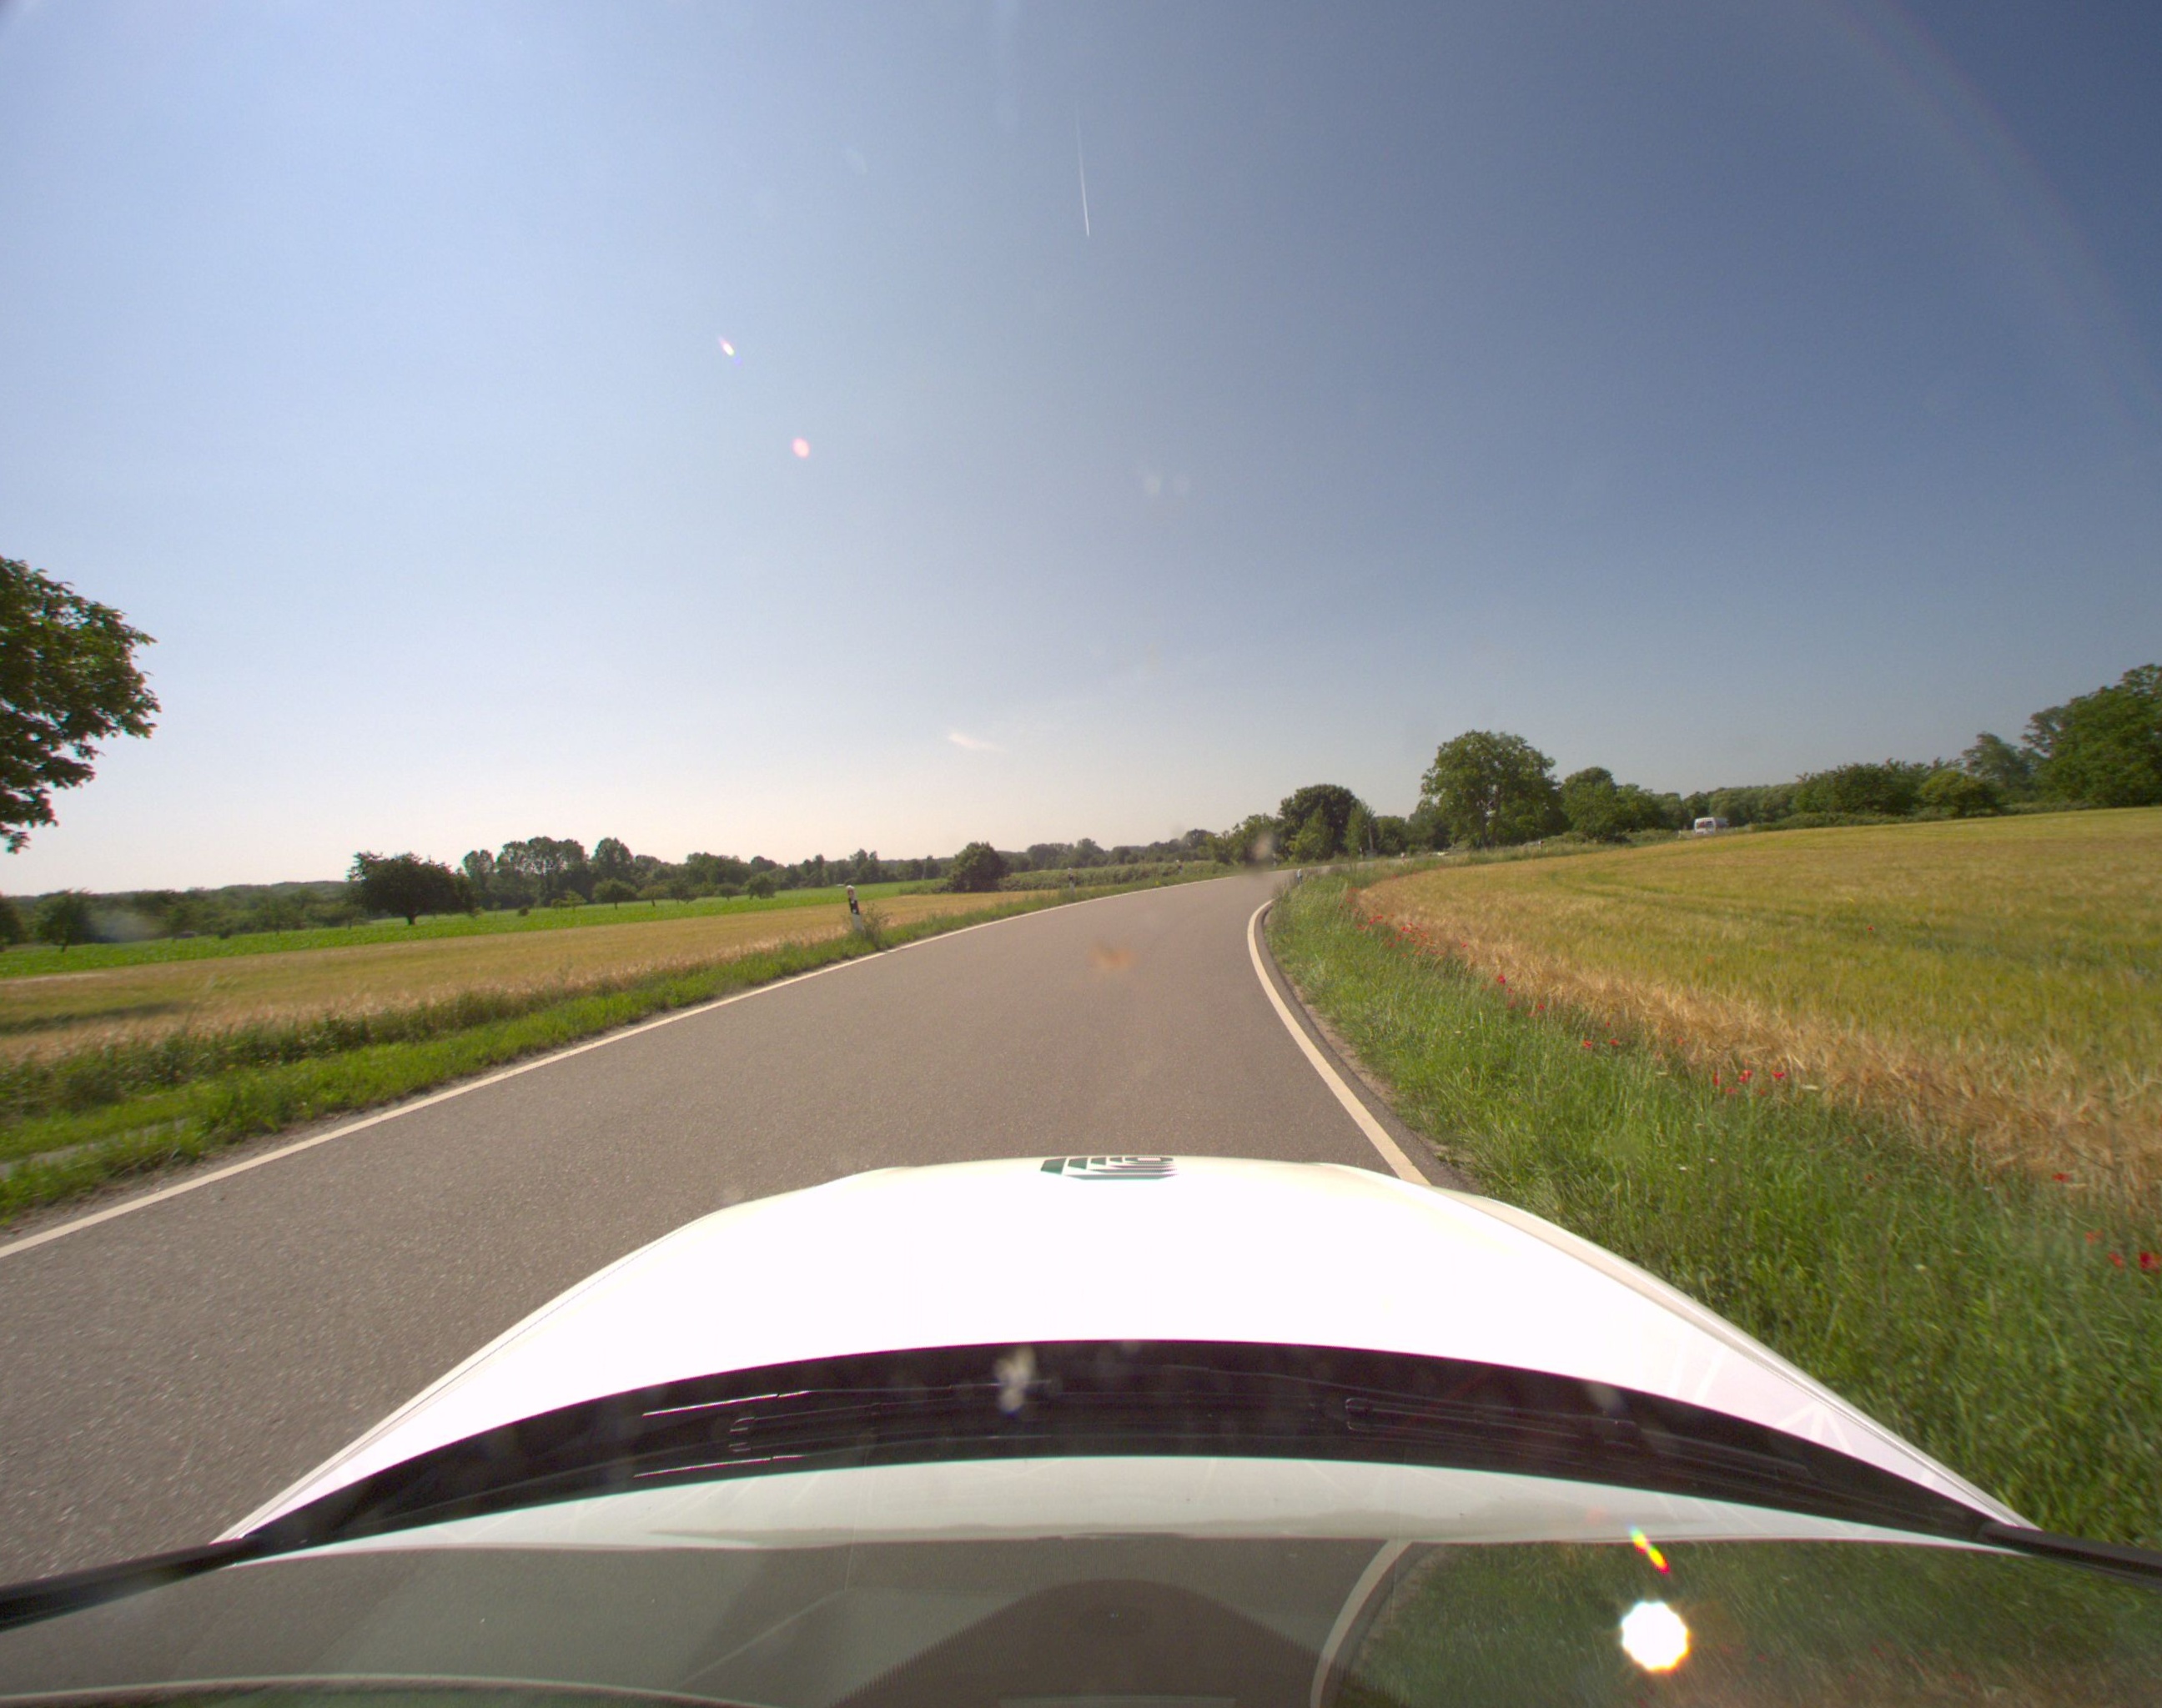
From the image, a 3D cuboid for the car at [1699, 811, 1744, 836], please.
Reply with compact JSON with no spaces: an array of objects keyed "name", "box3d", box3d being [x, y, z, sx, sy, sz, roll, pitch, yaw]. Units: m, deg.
[{"name":"car","box3d":[68.901,-3.325,87.601,5.710,2.367,2.088,-4,-1,-34]}]
